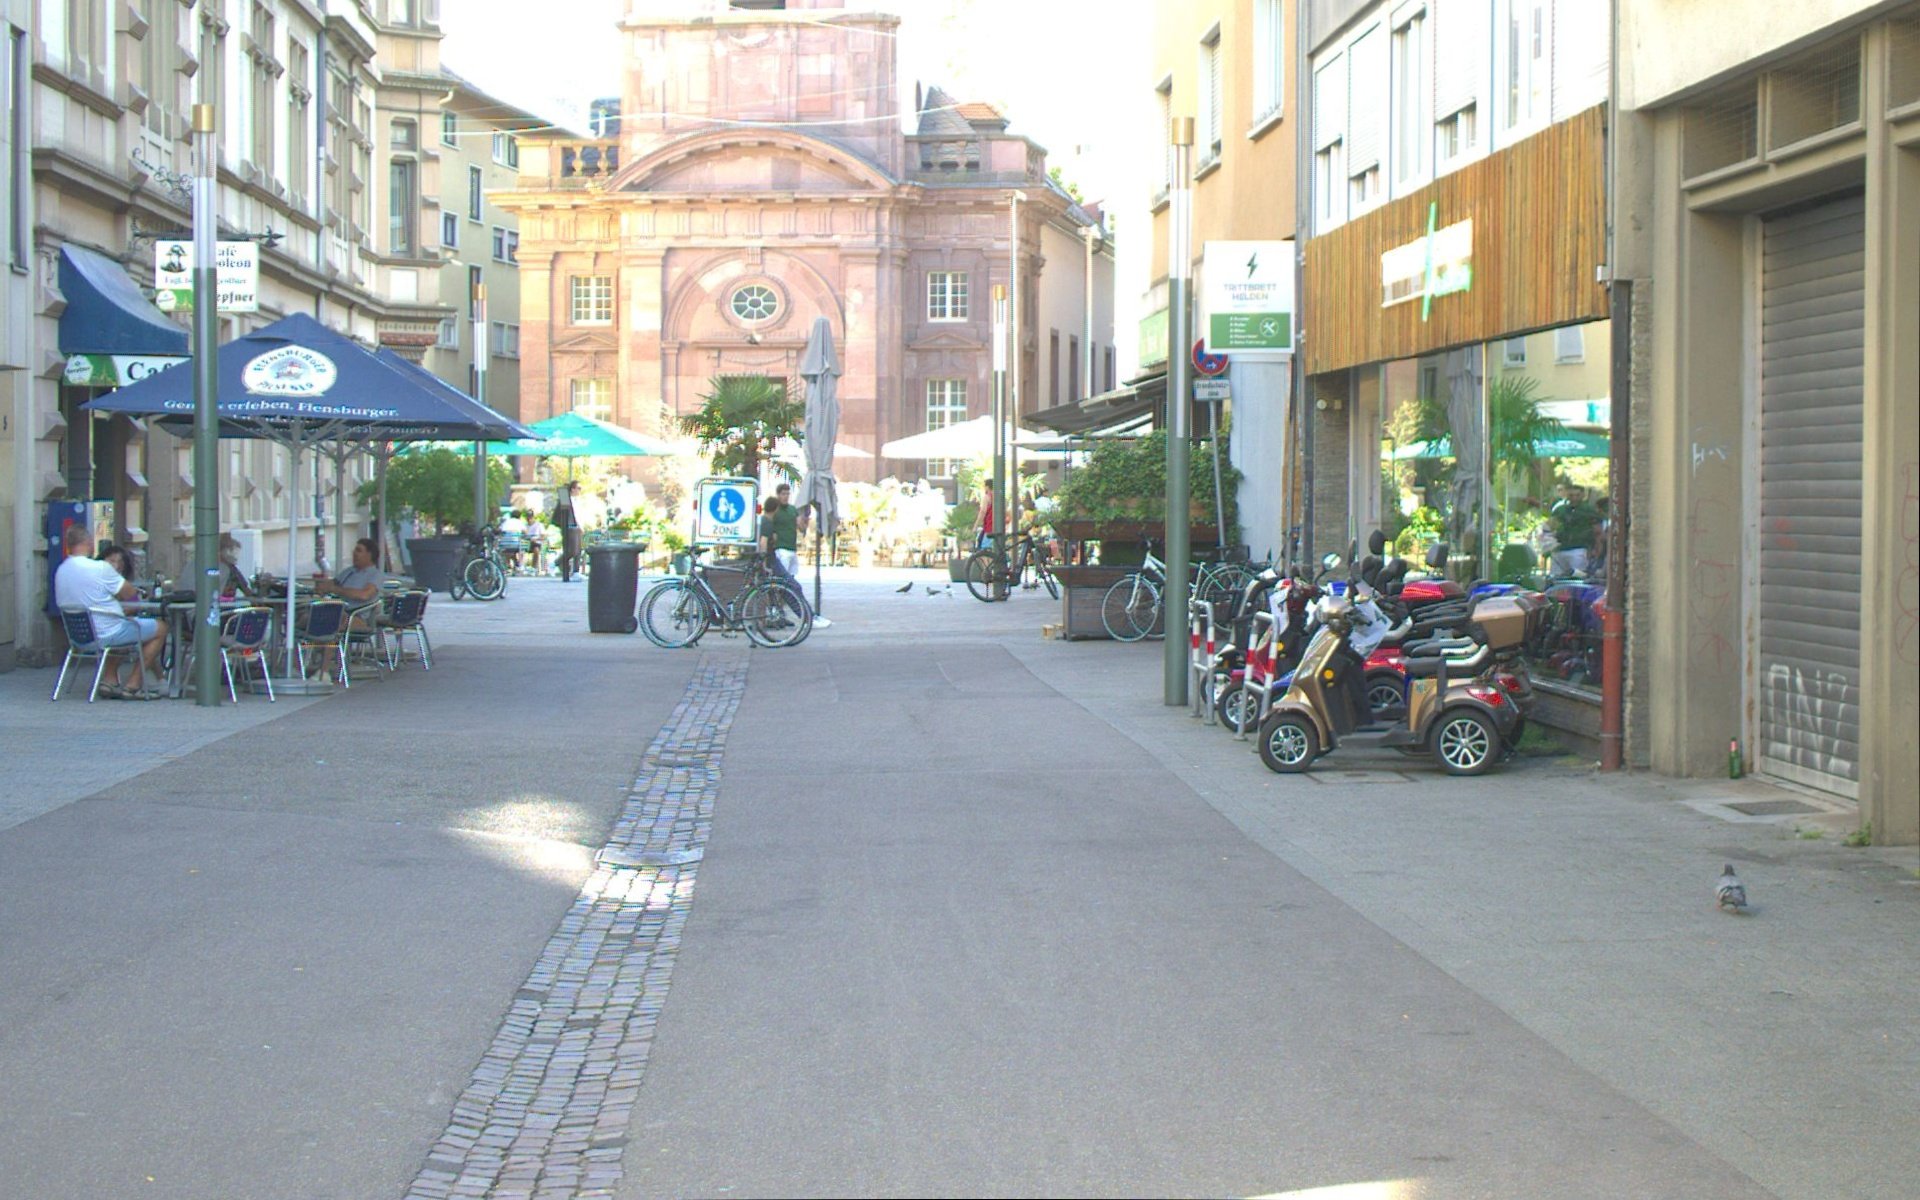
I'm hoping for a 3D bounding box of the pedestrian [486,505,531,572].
[{"bbox_3d":[-8.232,-1.120,62.692,0.700,1.213,0.719,1,2,3],"label":"pedestrian"}]

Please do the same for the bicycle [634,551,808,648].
[{"bbox_3d":[-2.536,-0.007,36.490,1.823,1.001,0.381,0,2,-6],"label":"bicycle"}]

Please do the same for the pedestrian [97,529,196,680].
[{"bbox_3d":[-6.775,0.031,28.659,0.764,1.229,0.831,0,2,-11],"label":"pedestrian"}]

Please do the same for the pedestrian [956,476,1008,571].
[{"bbox_3d":[0.378,-1.325,59.487,0.611,1.635,0.658,-1,2,-36],"label":"pedestrian"}]

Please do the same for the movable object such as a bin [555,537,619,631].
[{"bbox_3d":[-4.298,-0.187,39.661,0.721,1.071,0.374,0,2,-4],"label":"movable object such as a bin"}]

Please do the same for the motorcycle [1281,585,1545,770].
[{"bbox_3d":[2.704,0.451,20.509,1.517,1.072,0.412,0,1,15],"label":"motorcycle"}]

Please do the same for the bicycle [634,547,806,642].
[{"bbox_3d":[-2.574,-0.059,36.889,1.823,1.001,0.381,0,2,-6],"label":"bicycle"}]

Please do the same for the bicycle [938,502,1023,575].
[{"bbox_3d":[0.376,-1.116,62.318,1.586,1.303,0.366,-1,2,-32],"label":"bicycle"}]

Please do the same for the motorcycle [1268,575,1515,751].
[{"bbox_3d":[2.698,0.384,21.493,1.485,1.072,0.412,0,1,15],"label":"motorcycle"}]

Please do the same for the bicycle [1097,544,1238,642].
[{"bbox_3d":[2.186,-0.083,36.195,1.463,1.001,0.573,1,2,4],"label":"bicycle"}]

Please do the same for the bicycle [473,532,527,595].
[{"bbox_3d":[-6.522,-0.526,48.833,0.456,0.847,2.146,0,2,1],"label":"bicycle"}]

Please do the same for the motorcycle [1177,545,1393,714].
[{"bbox_3d":[2.299,0.201,24.300,1.484,1.177,0.412,0,1,12],"label":"motorcycle"}]

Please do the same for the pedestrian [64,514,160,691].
[{"bbox_3d":[-6.649,0.011,26.950,0.717,1.363,0.710,0,2,-15],"label":"pedestrian"}]

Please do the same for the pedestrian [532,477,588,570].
[{"bbox_3d":[-6.761,-1.297,58.137,0.784,1.550,0.535,1,2,15],"label":"pedestrian"}]

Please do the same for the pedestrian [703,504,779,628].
[{"bbox_3d":[-2.607,-0.415,40.990,0.883,1.459,0.731,0,2,-2],"label":"pedestrian"}]

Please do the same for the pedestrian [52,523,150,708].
[{"bbox_3d":[-6.484,0.108,25.944,0.707,1.363,0.720,0,2,-15],"label":"pedestrian"}]

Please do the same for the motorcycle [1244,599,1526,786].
[{"bbox_3d":[2.431,0.519,19.694,1.565,1.038,0.372,0,1,15],"label":"motorcycle"}]

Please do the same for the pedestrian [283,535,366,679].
[{"bbox_3d":[-5.439,0.053,29.434,0.692,1.211,0.583,0,2,-11],"label":"pedestrian"}]

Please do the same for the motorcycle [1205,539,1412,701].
[{"bbox_3d":[2.576,0.142,25.382,1.484,1.177,0.412,0,1,12],"label":"motorcycle"}]

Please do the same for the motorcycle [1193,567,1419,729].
[{"bbox_3d":[2.350,0.315,23.355,1.485,1.072,0.412,0,1,15],"label":"motorcycle"}]

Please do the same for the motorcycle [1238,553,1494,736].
[{"bbox_3d":[2.674,0.282,22.641,1.626,1.171,0.480,0,1,15],"label":"motorcycle"}]

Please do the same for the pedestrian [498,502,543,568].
[{"bbox_3d":[-8.199,-1.222,64.124,0.700,1.213,0.719,1,2,3],"label":"pedestrian"}]
